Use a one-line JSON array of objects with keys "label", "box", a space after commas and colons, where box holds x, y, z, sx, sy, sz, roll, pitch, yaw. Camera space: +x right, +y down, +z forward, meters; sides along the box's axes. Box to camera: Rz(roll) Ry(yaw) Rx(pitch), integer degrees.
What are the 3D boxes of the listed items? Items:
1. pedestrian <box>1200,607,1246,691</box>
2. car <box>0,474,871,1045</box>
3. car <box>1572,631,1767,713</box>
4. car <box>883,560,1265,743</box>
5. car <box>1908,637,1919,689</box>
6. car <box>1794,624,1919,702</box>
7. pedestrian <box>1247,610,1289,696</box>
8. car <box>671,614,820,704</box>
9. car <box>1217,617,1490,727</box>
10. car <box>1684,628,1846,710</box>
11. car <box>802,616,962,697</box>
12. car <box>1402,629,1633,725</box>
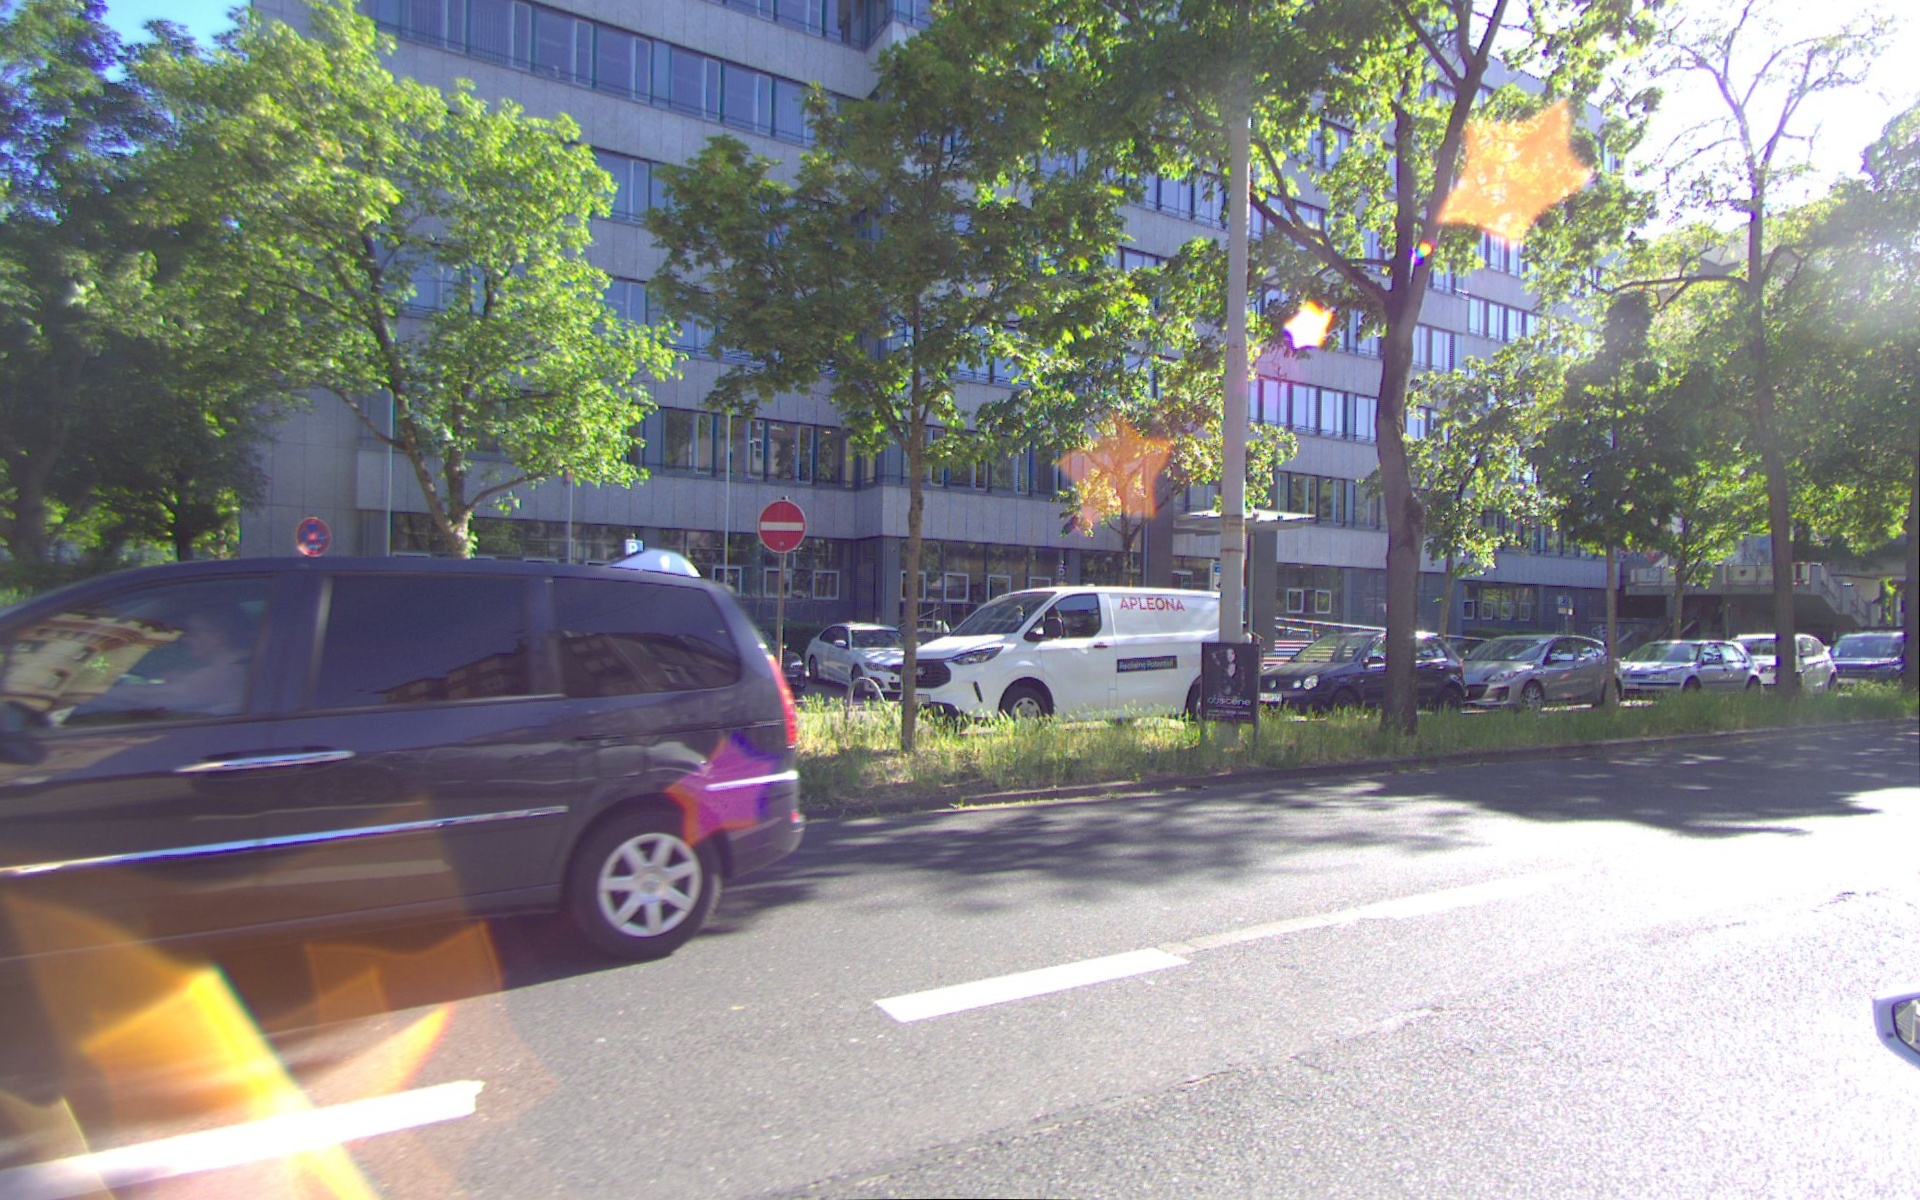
[{"label": "pedestrian", "box": [6.838, 1.270, 26.147, 0.761, 2.121, 0.788, 3, 1, -18]}, {"label": "car", "box": [-2.855, 0.567, 4.488, 4.556, 1.849, 1.847, 2, -3, -30]}, {"label": "car", "box": [15.306, 1.520, 21.643, 4.014, 1.543, 1.848, 2, 0, -29]}, {"label": "car", "box": [1.673, 0.703, 13.763, 5.141, 2.103, 1.970, 2, -3, -33]}, {"label": "car", "box": [31.291, 1.991, 31.024, 3.825, 1.589, 1.847, 2, 0, -30]}, {"label": "car", "box": [24.610, 1.658, 27.082, 4.510, 1.874, 1.846, 2, 0, -31]}, {"label": "pedestrian", "box": [7.874, 1.346, 25.711, 0.776, 2.121, 0.774, 3, 1, 3]}, {"label": "car", "box": [-4.517, 1.120, 20.570, 1.982, 1.533, 4.656, 2, 0, -25]}, {"label": "car", "box": [6.423, 1.121, 16.318, 4.265, 1.543, 1.774, 2, 0, -28]}, {"label": "car", "box": [19.414, 1.605, 24.160, 4.619, 1.706, 1.843, 2, 0, -36]}, {"label": "car", "box": [-1.858, 1.173, 22.317, 1.913, 1.462, 4.595, 2, 0, -27]}, {"label": "car", "box": [10.444, 1.384, 18.754, 4.268, 1.543, 1.846, 2, 0, -31]}]
